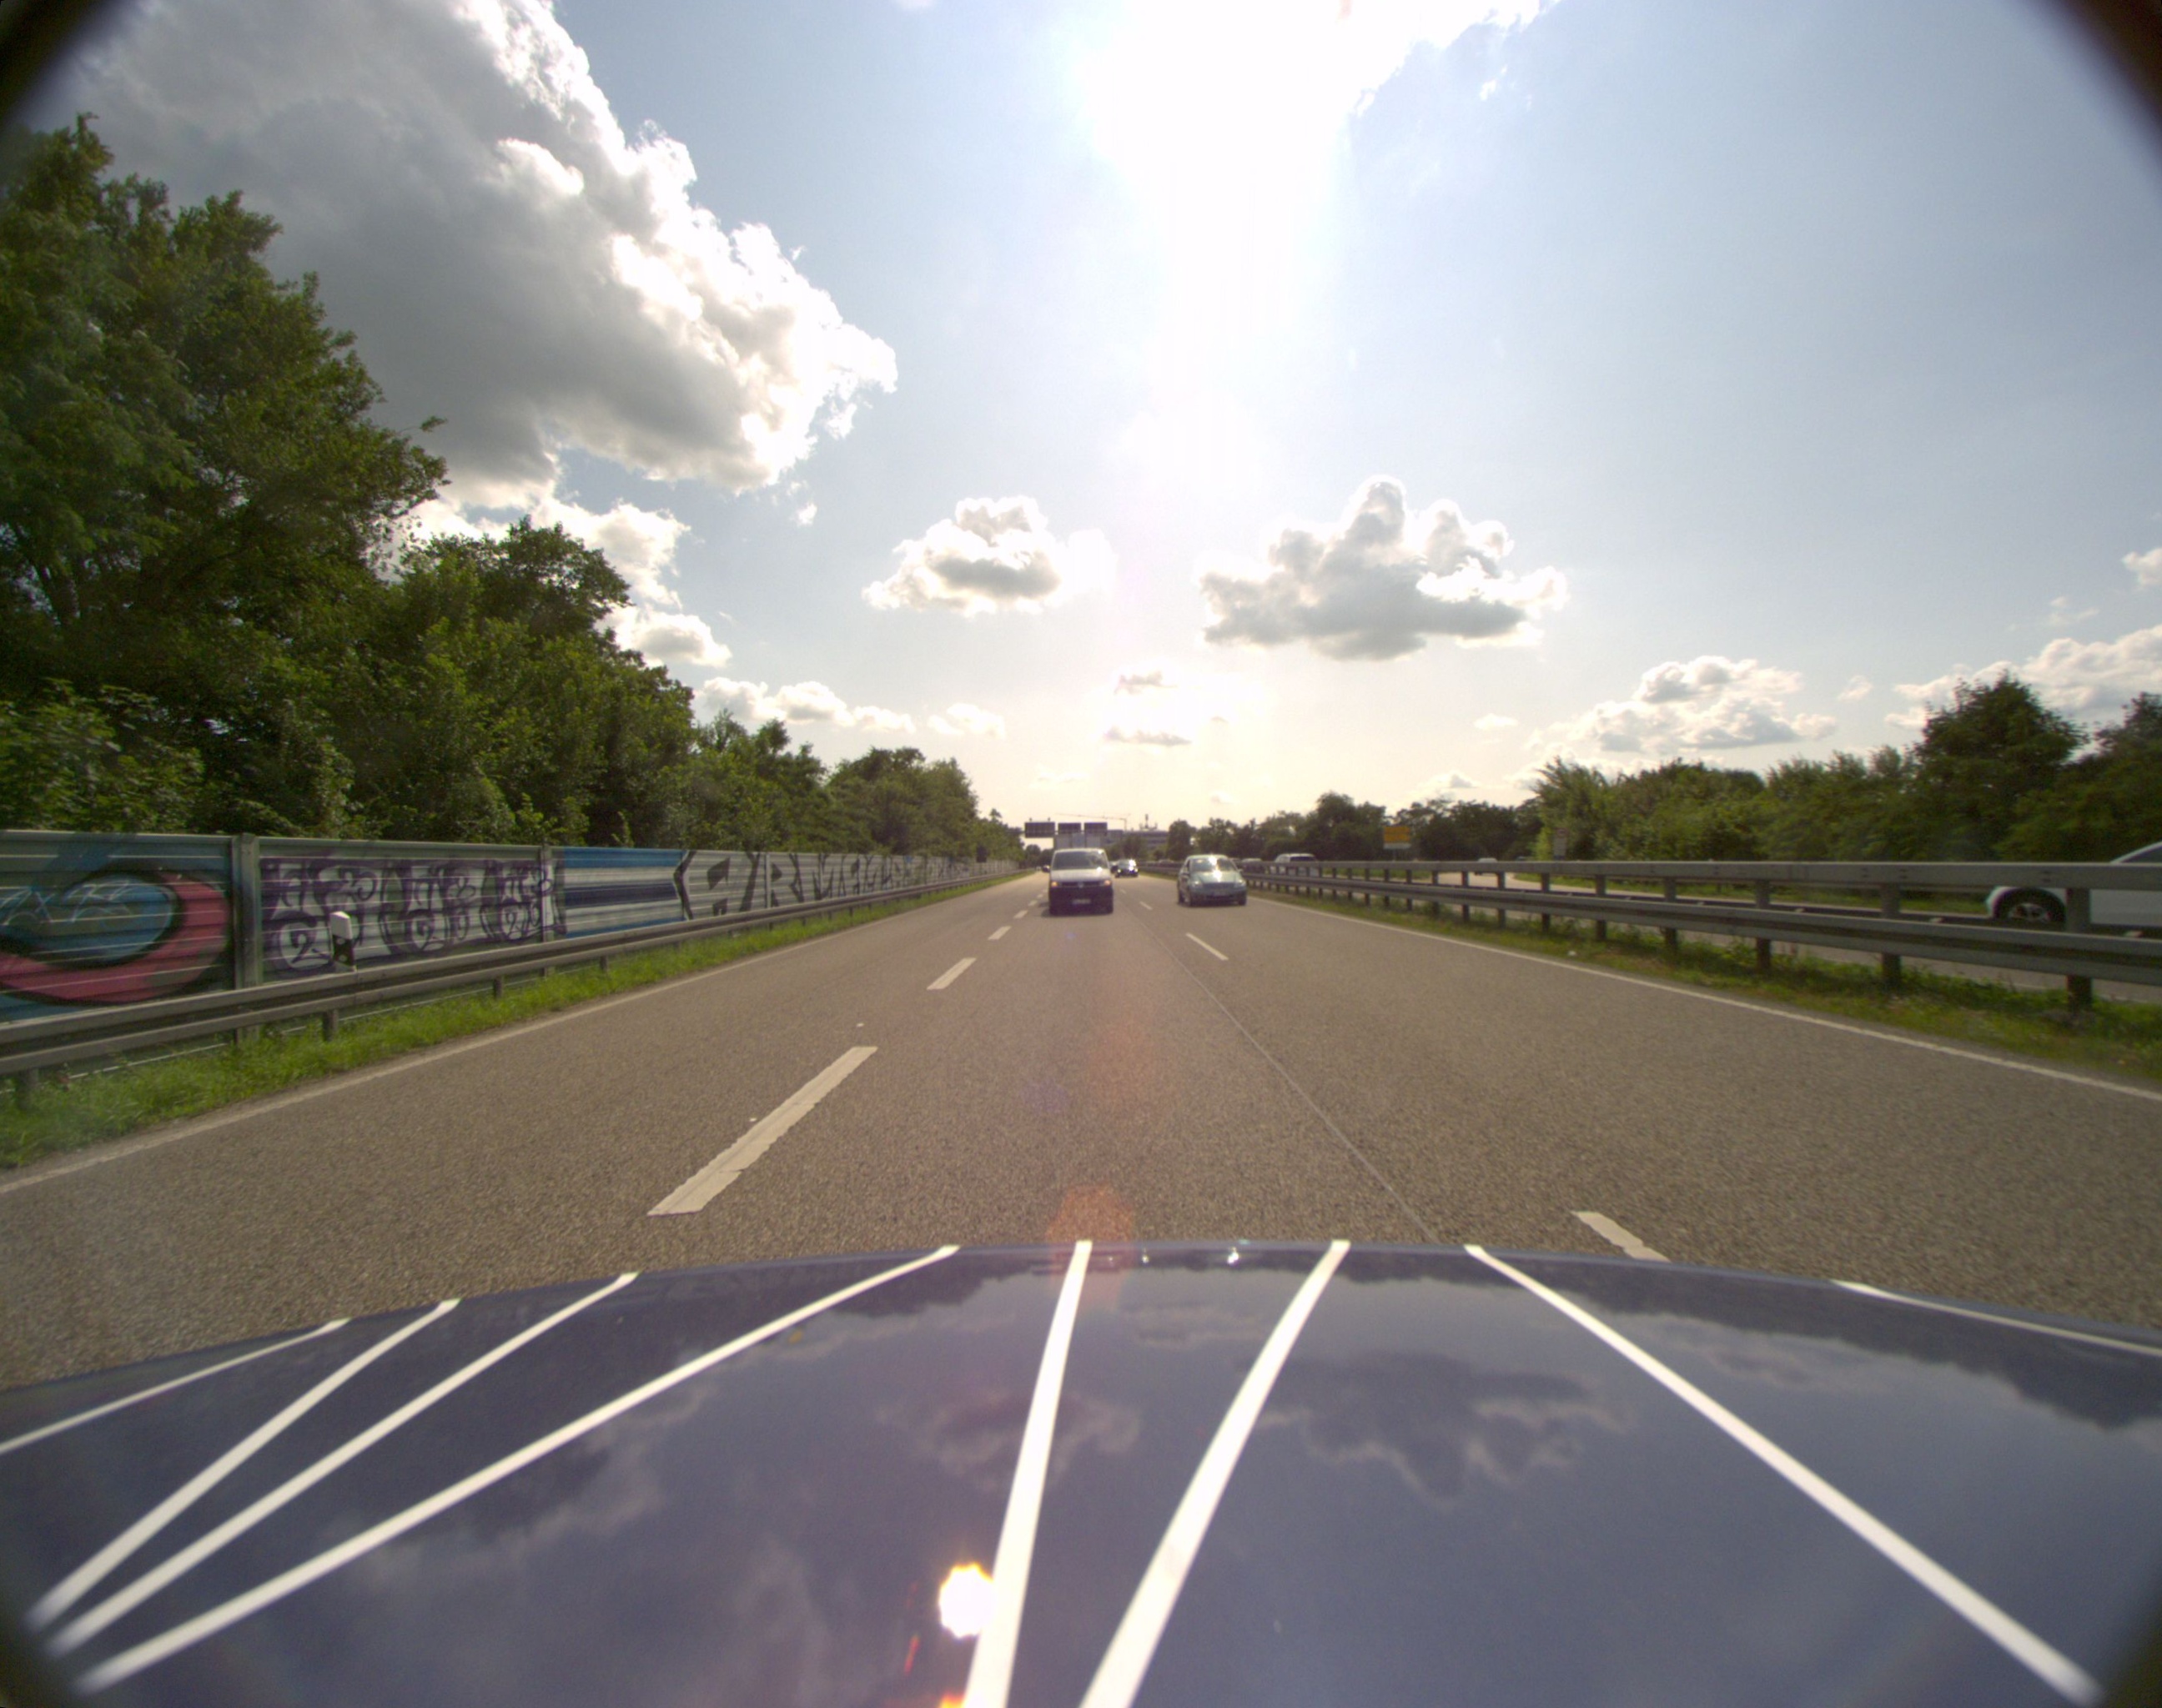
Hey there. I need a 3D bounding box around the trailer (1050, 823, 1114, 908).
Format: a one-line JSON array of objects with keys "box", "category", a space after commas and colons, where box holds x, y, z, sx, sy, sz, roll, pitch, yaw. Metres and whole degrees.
[{"box": [0.071, 0.352, 28.142, 1.998, 2.723, 5.967, -3, 1, 1], "category": "trailer"}]

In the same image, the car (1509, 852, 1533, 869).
[{"box": [45.040, 0.630, 77.789, 1.725, 1.517, 4.007, -2, 1, 35], "category": "car"}]

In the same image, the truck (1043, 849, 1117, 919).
[{"box": [0.001, 0.822, 23.170, 2.008, 1.905, 4.000, -2, 0, 1], "category": "truck"}]

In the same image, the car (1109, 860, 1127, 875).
[{"box": [3.987, 1.432, 81.870, 1.625, 1.403, 3.770, -3, 1, -1], "category": "car"}]

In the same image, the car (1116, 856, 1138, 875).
[{"box": [3.943, 0.967, 65.938, 1.716, 1.518, 4.592, -3, 1, 2], "category": "car"}]

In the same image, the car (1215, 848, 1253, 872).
[{"box": [11.416, 0.441, 57.059, 1.966, 1.636, 4.550, -3, 1, 1], "category": "car"}]

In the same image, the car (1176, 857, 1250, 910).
[{"box": [4.210, 0.890, 24.832, 1.752, 1.522, 4.000, -2, 0, 1], "category": "car"}]

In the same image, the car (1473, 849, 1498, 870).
[{"box": [33.773, 0.438, 63.500, 1.725, 1.517, 4.006, -2, 1, 28], "category": "car"}]

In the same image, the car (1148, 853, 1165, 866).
[{"box": [10.434, 0.714, 105.258, 1.966, 1.636, 4.550, -3, 1, 1], "category": "car"}]

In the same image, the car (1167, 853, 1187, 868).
[{"box": [11.862, 0.751, 94.325, 1.966, 1.636, 4.550, -3, 1, 1], "category": "car"}]

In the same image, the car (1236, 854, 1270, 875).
[{"box": [14.840, 0.875, 65.738, 1.966, 1.636, 4.550, -3, 1, 1], "category": "car"}]

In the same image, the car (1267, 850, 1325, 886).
[{"box": [11.104, 0.680, 39.552, 1.692, 1.636, 4.268, -3, 1, -1], "category": "car"}]

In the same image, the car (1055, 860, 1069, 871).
[{"box": [-2.781, 1.647, 112.340, 1.768, 1.403, 3.771, -3, 1, 2], "category": "car"}]

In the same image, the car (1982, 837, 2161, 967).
[{"box": [15.202, 0.630, 9.733, 1.966, 1.636, 4.550, -3, 1, 1], "category": "car"}]
